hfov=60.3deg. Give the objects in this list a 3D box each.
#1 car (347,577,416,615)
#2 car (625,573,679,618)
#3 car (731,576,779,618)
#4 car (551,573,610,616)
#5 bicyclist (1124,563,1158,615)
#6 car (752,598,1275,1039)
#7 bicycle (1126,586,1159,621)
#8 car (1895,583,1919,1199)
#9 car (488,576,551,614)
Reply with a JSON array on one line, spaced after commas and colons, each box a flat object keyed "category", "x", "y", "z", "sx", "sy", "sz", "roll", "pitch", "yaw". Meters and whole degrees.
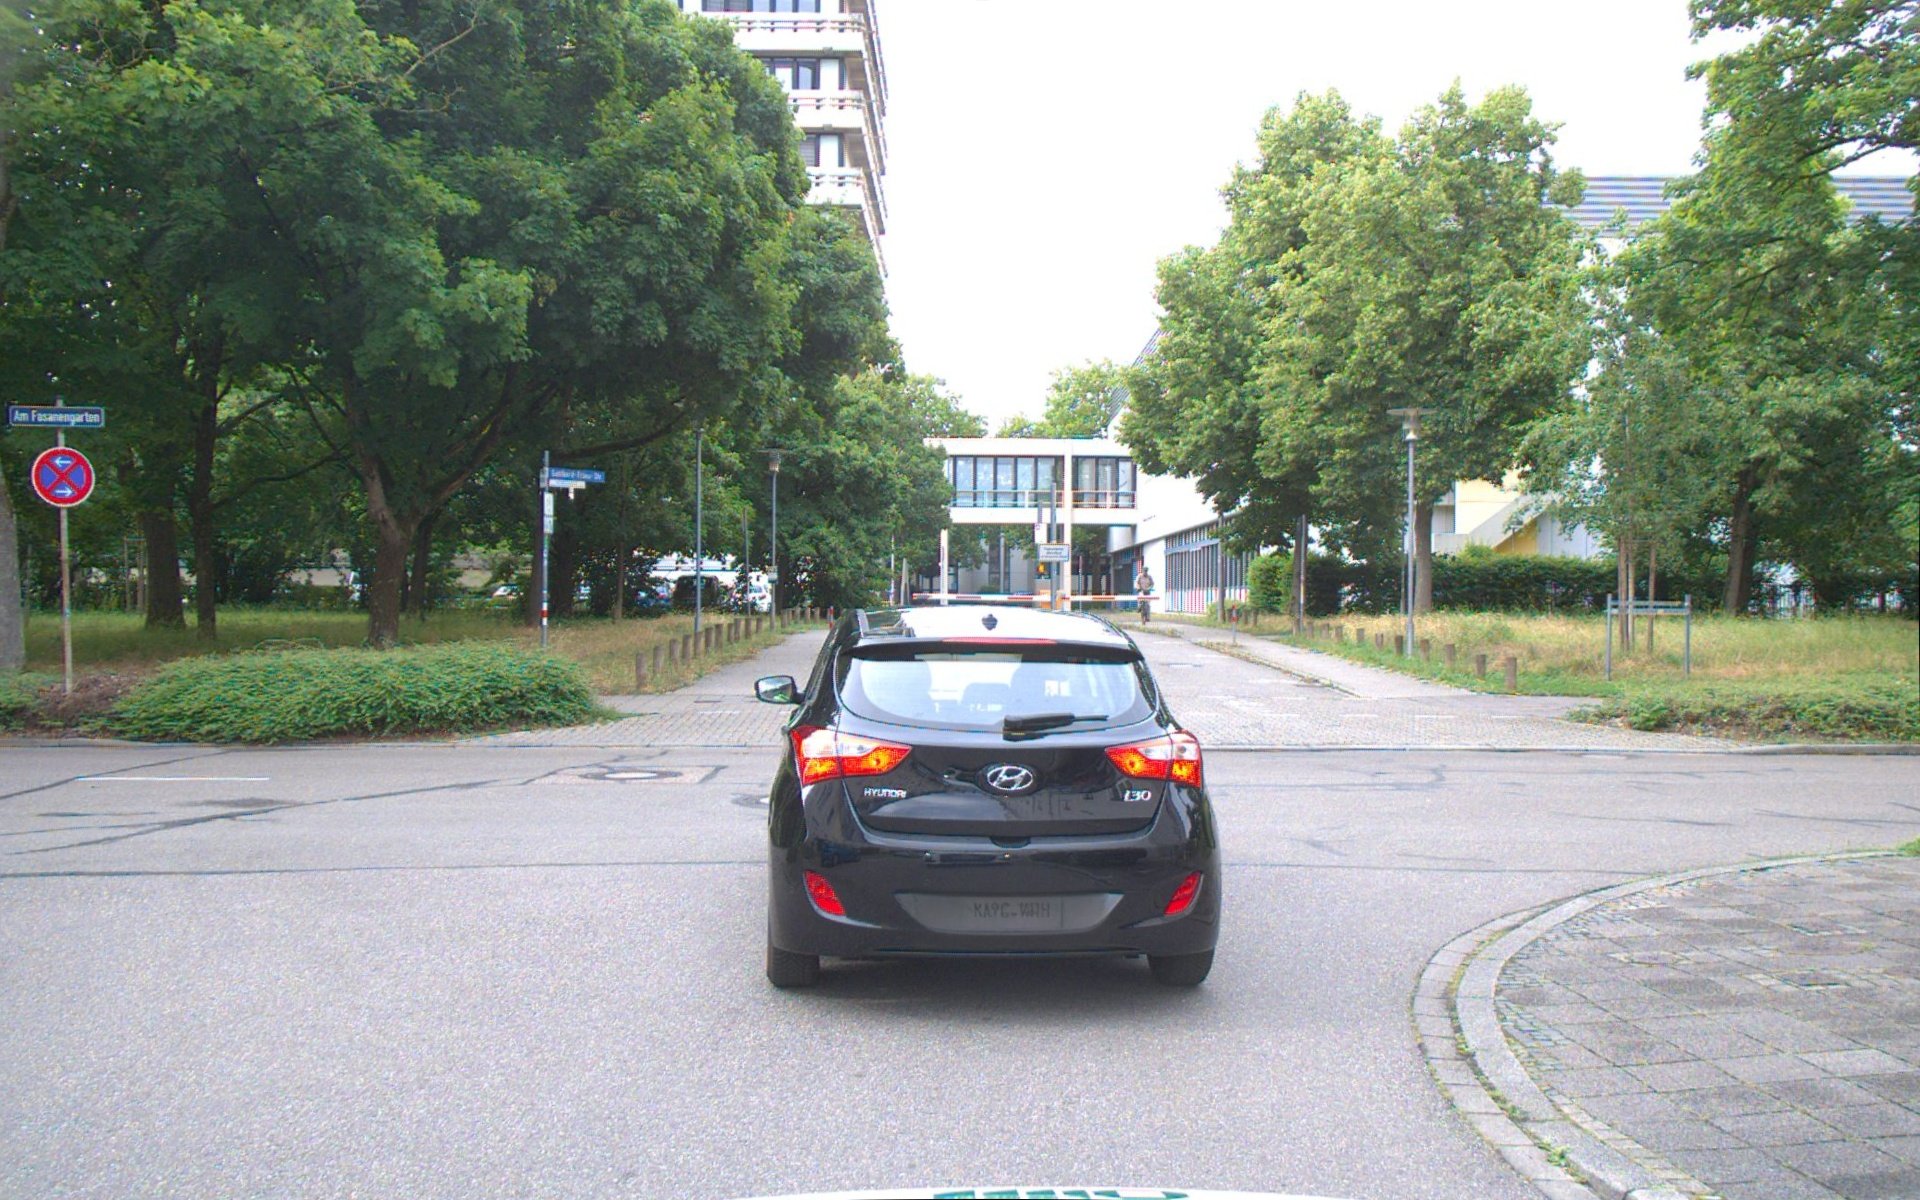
[{"category": "car", "x": -25.240, "y": -0.175, "z": 72.305, "sx": 1.880, "sy": 1.646, "sz": 3.996, "roll": 0, "pitch": 0, "yaw": -5}, {"category": "car", "x": -13.461, "y": -0.169, "z": 72.451, "sx": 1.955, "sy": 1.825, "sz": 3.995, "roll": 0, "pitch": -1, "yaw": -5}, {"category": "car", "x": -8.960, "y": -0.126, "z": 72.608, "sx": 1.955, "sy": 1.793, "sz": 3.996, "roll": 0, "pitch": -1, "yaw": -5}, {"category": "car", "x": -16.498, "y": -0.198, "z": 72.057, "sx": 1.955, "sy": 1.758, "sz": 3.995, "roll": 0, "pitch": -1, "yaw": -5}, {"category": "bicyclist", "x": 5.911, "y": -0.361, "z": 54.040, "sx": 0.996, "sy": 1.673, "sz": 0.923, "roll": 0, "pitch": 1, "yaw": 0}, {"category": "car", "x": 0.009, "y": 0.747, "z": 7.596, "sx": 1.810, "sy": 1.488, "sz": 3.822, "roll": 1, "pitch": 0, "yaw": -6}, {"category": "bicycle", "x": 5.932, "y": 0.093, "z": 53.927, "sx": 0.849, "sy": 1.093, "sz": 2.142, "roll": 0, "pitch": 1, "yaw": 0}, {"category": "car", "x": 2.929, "y": 0.715, "z": 1.037, "sx": 1.823, "sy": 1.488, "sz": 4.723, "roll": -1, "pitch": 0, "yaw": -3}, {"category": "car", "x": -19.165, "y": -0.220, "z": 72.069, "sx": 1.955, "sy": 1.646, "sz": 3.996, "roll": 0, "pitch": 0, "yaw": -5}]
